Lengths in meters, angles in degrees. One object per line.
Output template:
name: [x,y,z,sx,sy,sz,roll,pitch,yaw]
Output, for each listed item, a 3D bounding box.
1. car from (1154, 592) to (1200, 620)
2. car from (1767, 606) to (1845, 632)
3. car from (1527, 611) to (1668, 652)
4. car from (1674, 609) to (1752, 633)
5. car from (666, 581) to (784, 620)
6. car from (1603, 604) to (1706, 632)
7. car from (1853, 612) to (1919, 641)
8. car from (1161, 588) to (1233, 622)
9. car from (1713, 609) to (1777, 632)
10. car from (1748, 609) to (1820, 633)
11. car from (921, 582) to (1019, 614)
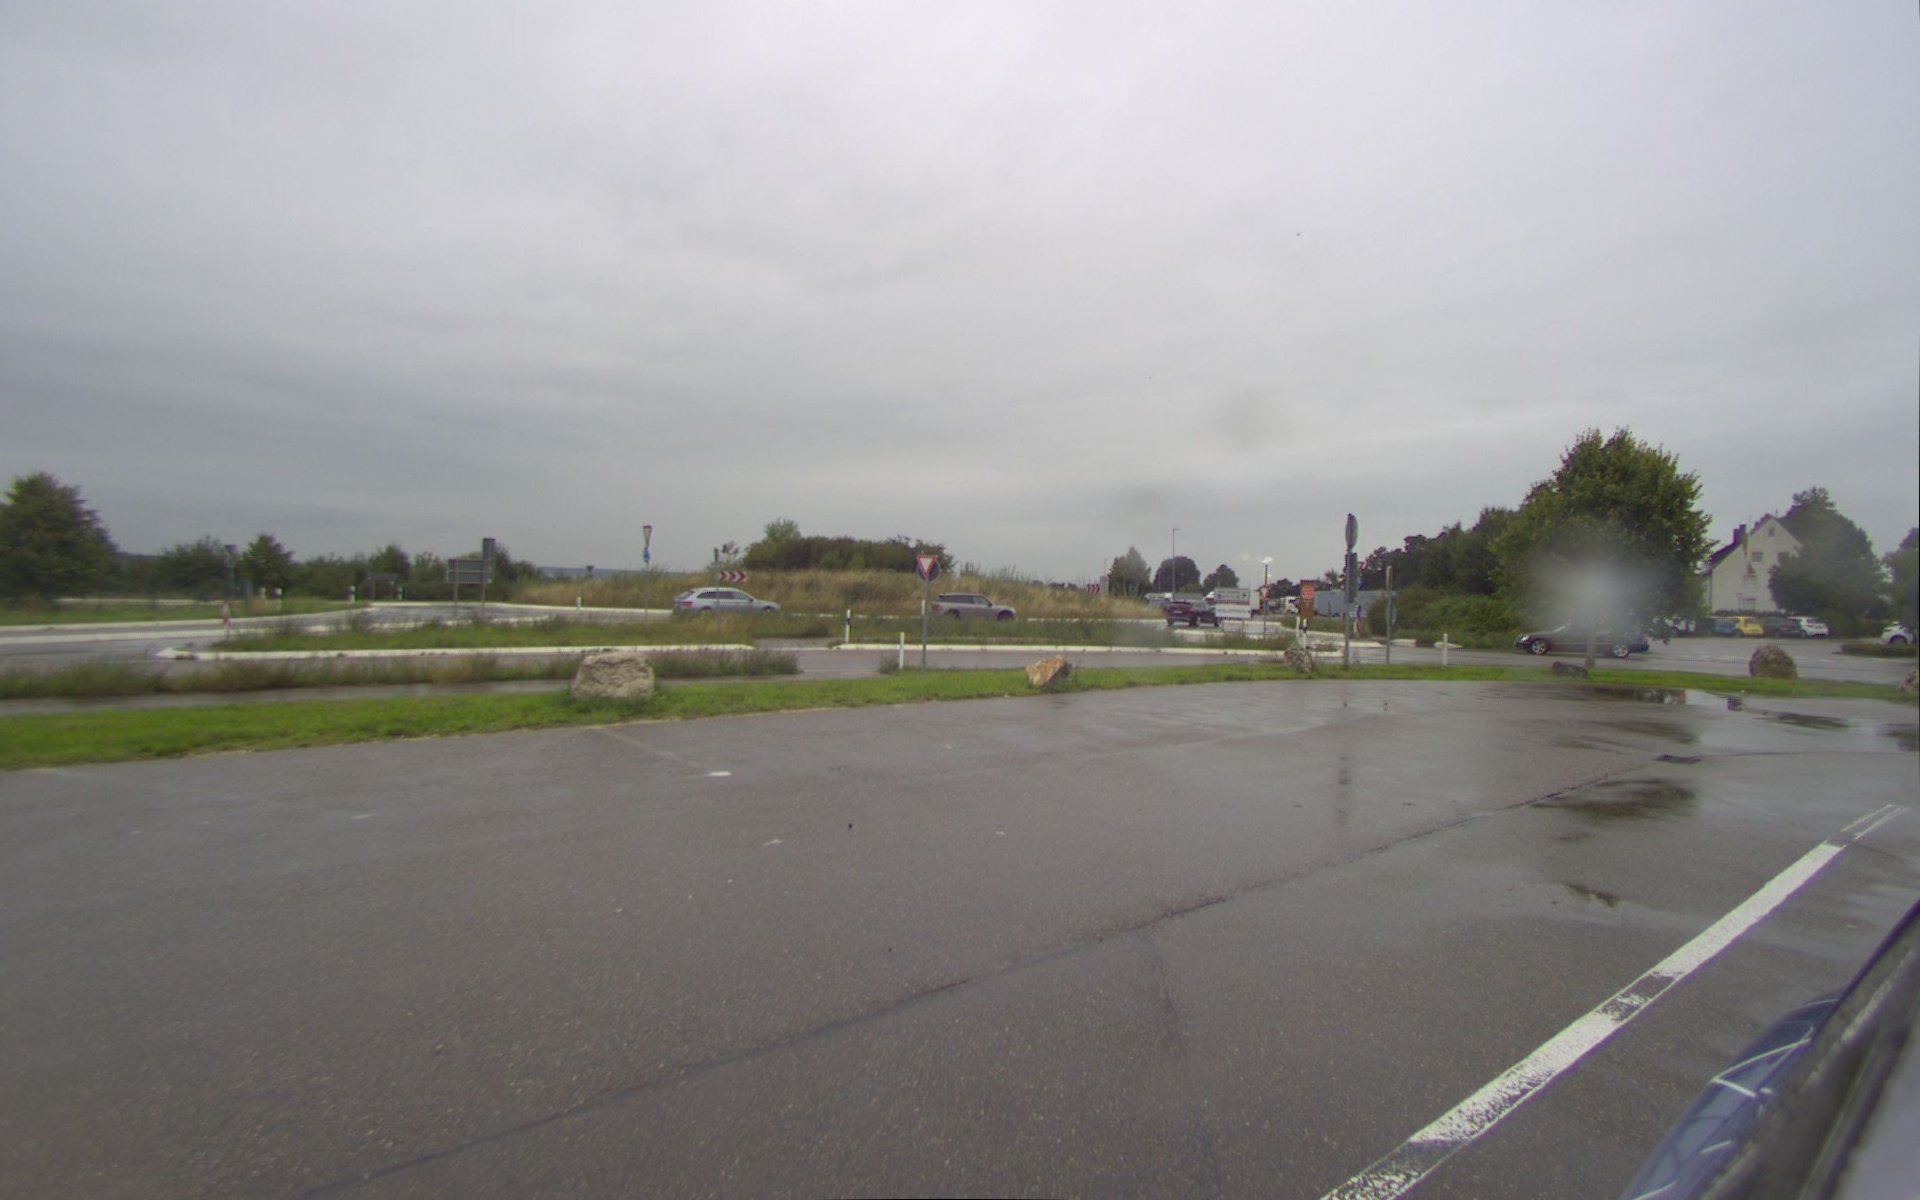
car: [16.122,0.442,75.382,1.959,2.039,4.006,1,0,-10]
car: [59.879,1.300,71.711,1.951,1.750,4.003,1,0,-4]
car: [24.455,1.199,39.002,4.308,1.443,1.694,1,0,22]
car: [52.766,1.454,71.049,1.962,1.570,4.648,1,-1,-1]
car: [-10.203,0.036,44.069,4.572,1.500,2.001,2,1,-34]
car: [46.081,1.174,67.202,1.966,1.744,5.366,2,-1,-42]
car: [51.380,1.440,54.872,1.819,1.443,4.350,1,0,-44]
car: [13.598,0.249,57.911,1.887,1.704,4.595,4,4,44]
car: [55.267,1.414,71.311,1.635,1.569,3.724,1,0,2]
car: [57.817,1.447,71.108,1.715,1.590,3.891,1,0,-3]
car: [0.446,-0.107,47.336,4.218,1.340,1.761,1,3,-16]
